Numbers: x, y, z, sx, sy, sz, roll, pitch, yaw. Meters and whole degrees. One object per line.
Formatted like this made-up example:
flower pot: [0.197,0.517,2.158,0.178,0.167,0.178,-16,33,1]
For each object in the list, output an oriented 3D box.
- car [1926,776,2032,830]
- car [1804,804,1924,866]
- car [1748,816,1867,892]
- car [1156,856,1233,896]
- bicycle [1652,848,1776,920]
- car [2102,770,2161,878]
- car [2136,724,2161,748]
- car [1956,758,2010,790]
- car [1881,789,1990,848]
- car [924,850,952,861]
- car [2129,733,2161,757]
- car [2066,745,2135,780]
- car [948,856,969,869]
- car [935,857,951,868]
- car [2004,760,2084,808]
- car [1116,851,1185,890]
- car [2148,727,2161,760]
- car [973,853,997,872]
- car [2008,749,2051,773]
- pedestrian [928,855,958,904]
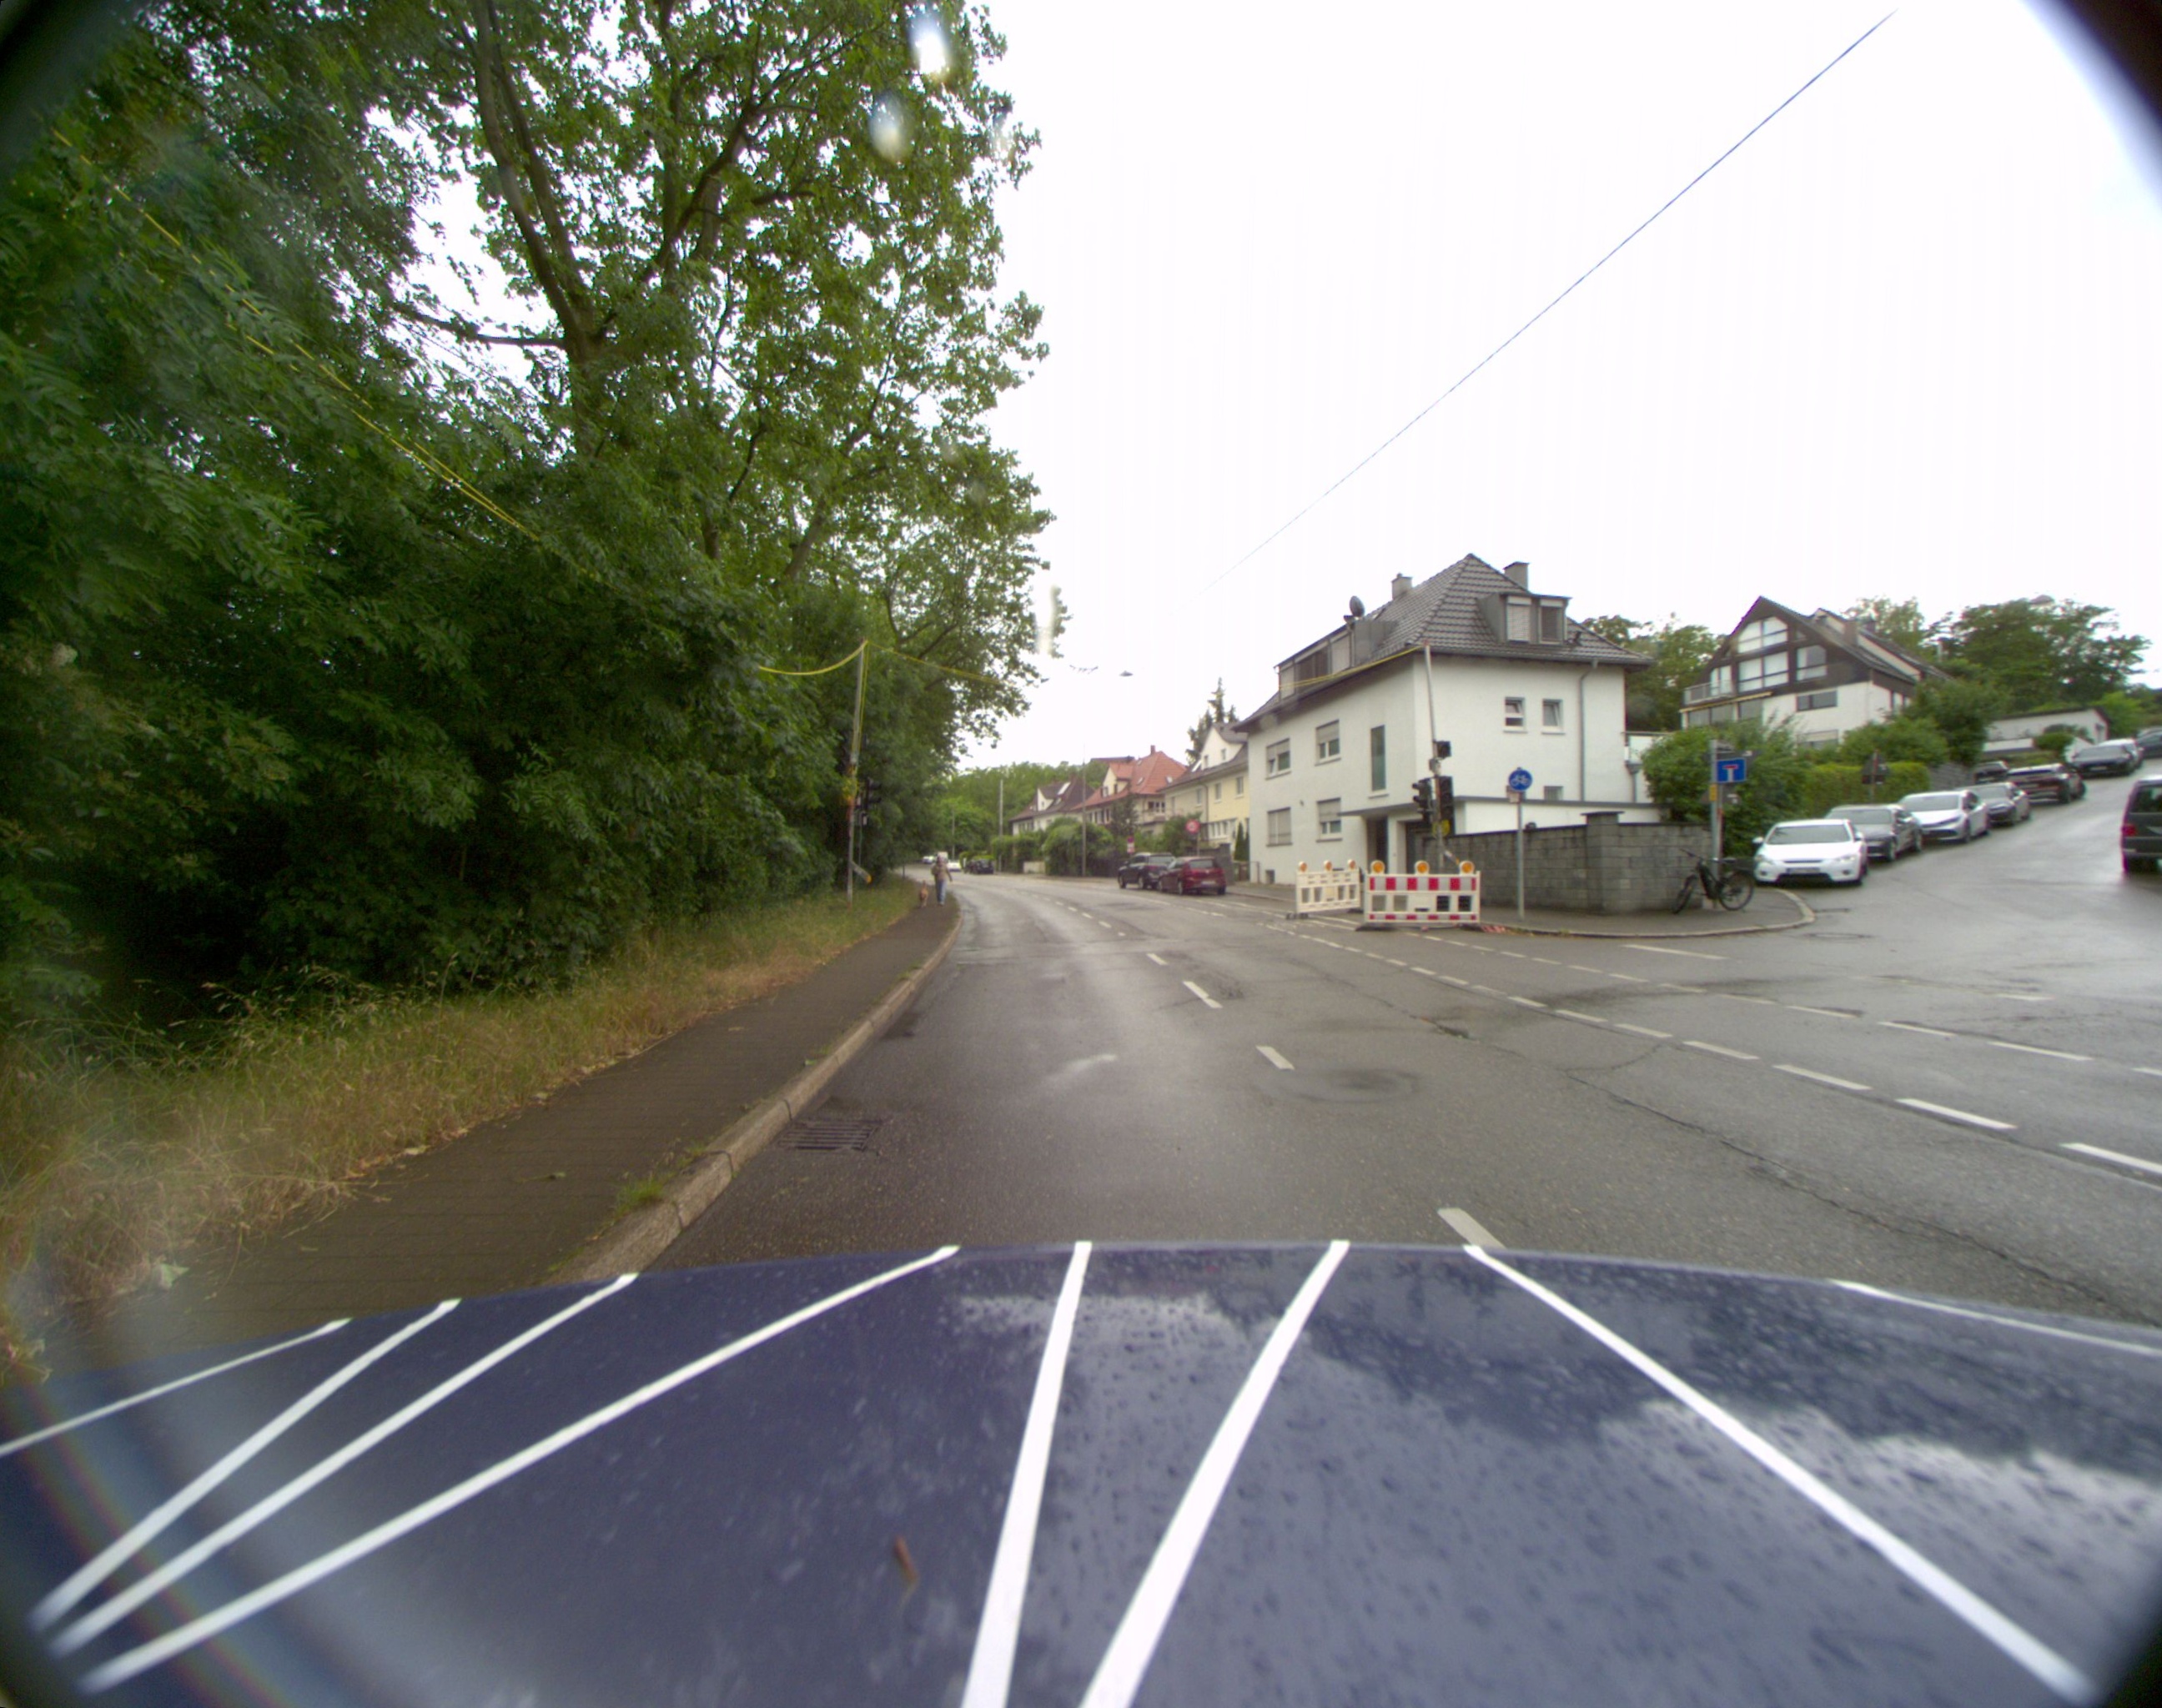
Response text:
car: [32.324,-1.831,27.327,4.111,1.430,1.921,-9,4,-33]
car: [22.461,-0.558,21.751,3.910,1.380,1.719,-7,3,-34]
car: [17.774,-0.049,18.529,4.126,1.455,1.849,-7,4,-43]
car: [4.380,0.818,29.897,1.787,1.423,3.844,-2,0,-10]
bicycle: [11.585,0.535,13.927,2.006,1.232,0.510,-2,3,-8]
car: [23.881,-0.753,16.254,4.497,2.003,1.996,-7,3,-31]
car: [81.115,-8.862,55.956,1.754,1.508,3.961,-3,1,-35]
car: [52.864,-4.646,44.512,4.020,1.545,1.812,-3,1,-37]
car: [27.267,-1.153,24.224,3.951,1.462,1.755,-7,3,-33]
car: [-24.673,0.208,131.211,1.995,1.772,4.631,-1,0,32]
car: [68.321,-6.933,47.693,1.286,1.310,2.945,-3,1,-36]
car: [54.812,-4.877,40.835,4.034,1.511,1.786,-2,0,-31]
car: [-15.240,1.082,94.167,2.071,1.477,4.556,-2,0,-16]
car: [-18.748,1.143,103.003,1.691,1.419,3.770,-2,0,-17]
car: [40.716,-2.982,32.106,4.004,1.617,1.638,-8,4,-32]
car: [3.127,0.733,35.025,1.798,1.630,4.150,-1,0,-15]
car: [72.461,-7.444,48.978,2.003,2.000,3.993,-2,-4,-32]
car: [-9.613,0.850,75.947,1.882,1.814,4.121,-2,0,-14]
car: [57.236,-5.635,45.860,3.656,1.205,1.577,-7,3,-38]
pedestrian: [-4.336,0.788,23.971,0.735,1.490,0.785,-3,1,-1]
